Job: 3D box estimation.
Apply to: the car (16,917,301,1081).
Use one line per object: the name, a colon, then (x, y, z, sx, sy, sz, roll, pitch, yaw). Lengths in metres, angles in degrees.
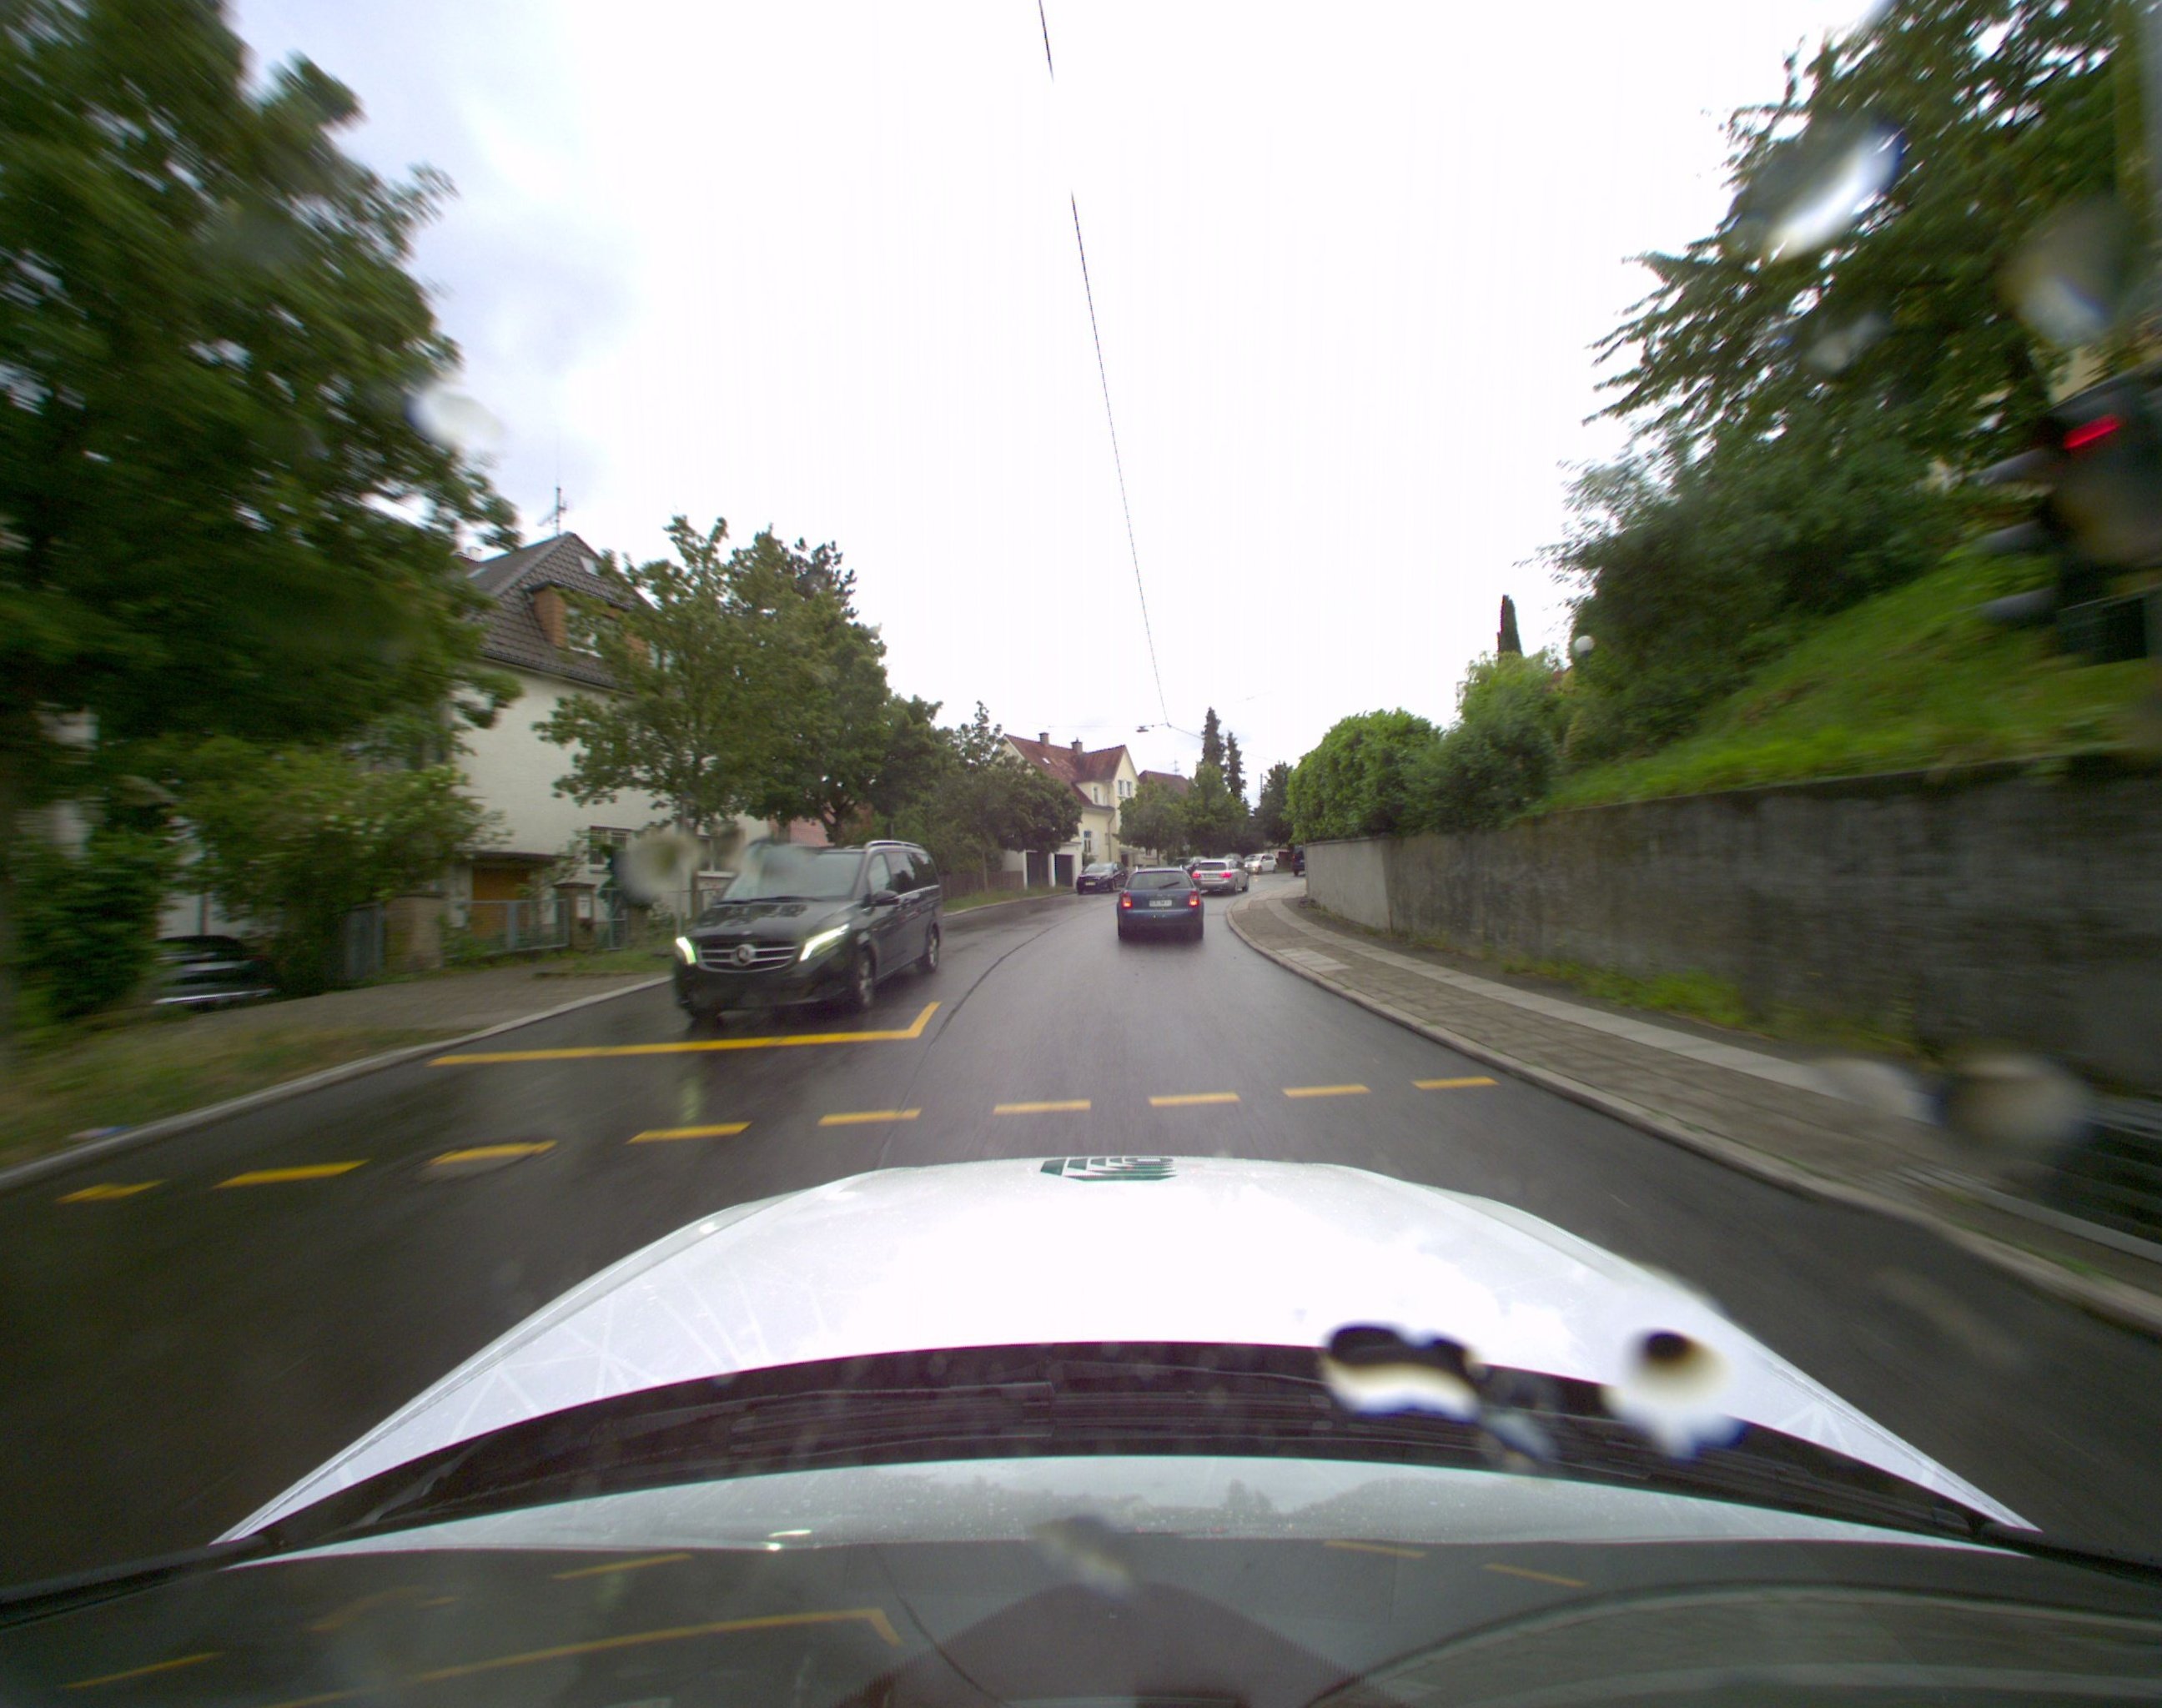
car: (-14.444, 2.258, 12.739, 3.952, 1.584, 1.866, -16, -6, 25)

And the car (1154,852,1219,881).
car: (6.537, 0.736, 50.038, 1.848, 1.545, 4.936, -4, -1, 34)

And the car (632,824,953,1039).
car: (-3.124, 0.746, 10.229, 1.889, 1.889, 5.156, -4, -1, 2)

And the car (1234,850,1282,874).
car: (12.691, 0.572, 58.204, 1.716, 1.466, 4.026, -4, 0, 37)

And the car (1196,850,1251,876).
car: (9.510, 0.593, 54.112, 1.716, 1.545, 4.237, -4, -1, 37)

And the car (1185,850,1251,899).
car: (5.881, 0.823, 34.576, 1.959, 1.635, 4.257, -4, 2, 19)

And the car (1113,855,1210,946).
car: (1.663, 0.884, 17.473, 1.726, 1.466, 4.005, -5, 1, 4)

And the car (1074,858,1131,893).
car: (1.095, 1.016, 39.626, 1.657, 1.466, 3.912, -4, -1, 17)

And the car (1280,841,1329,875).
car: (14.059, 0.209, 51.047, 1.716, 1.768, 4.263, -4, 2, 32)
